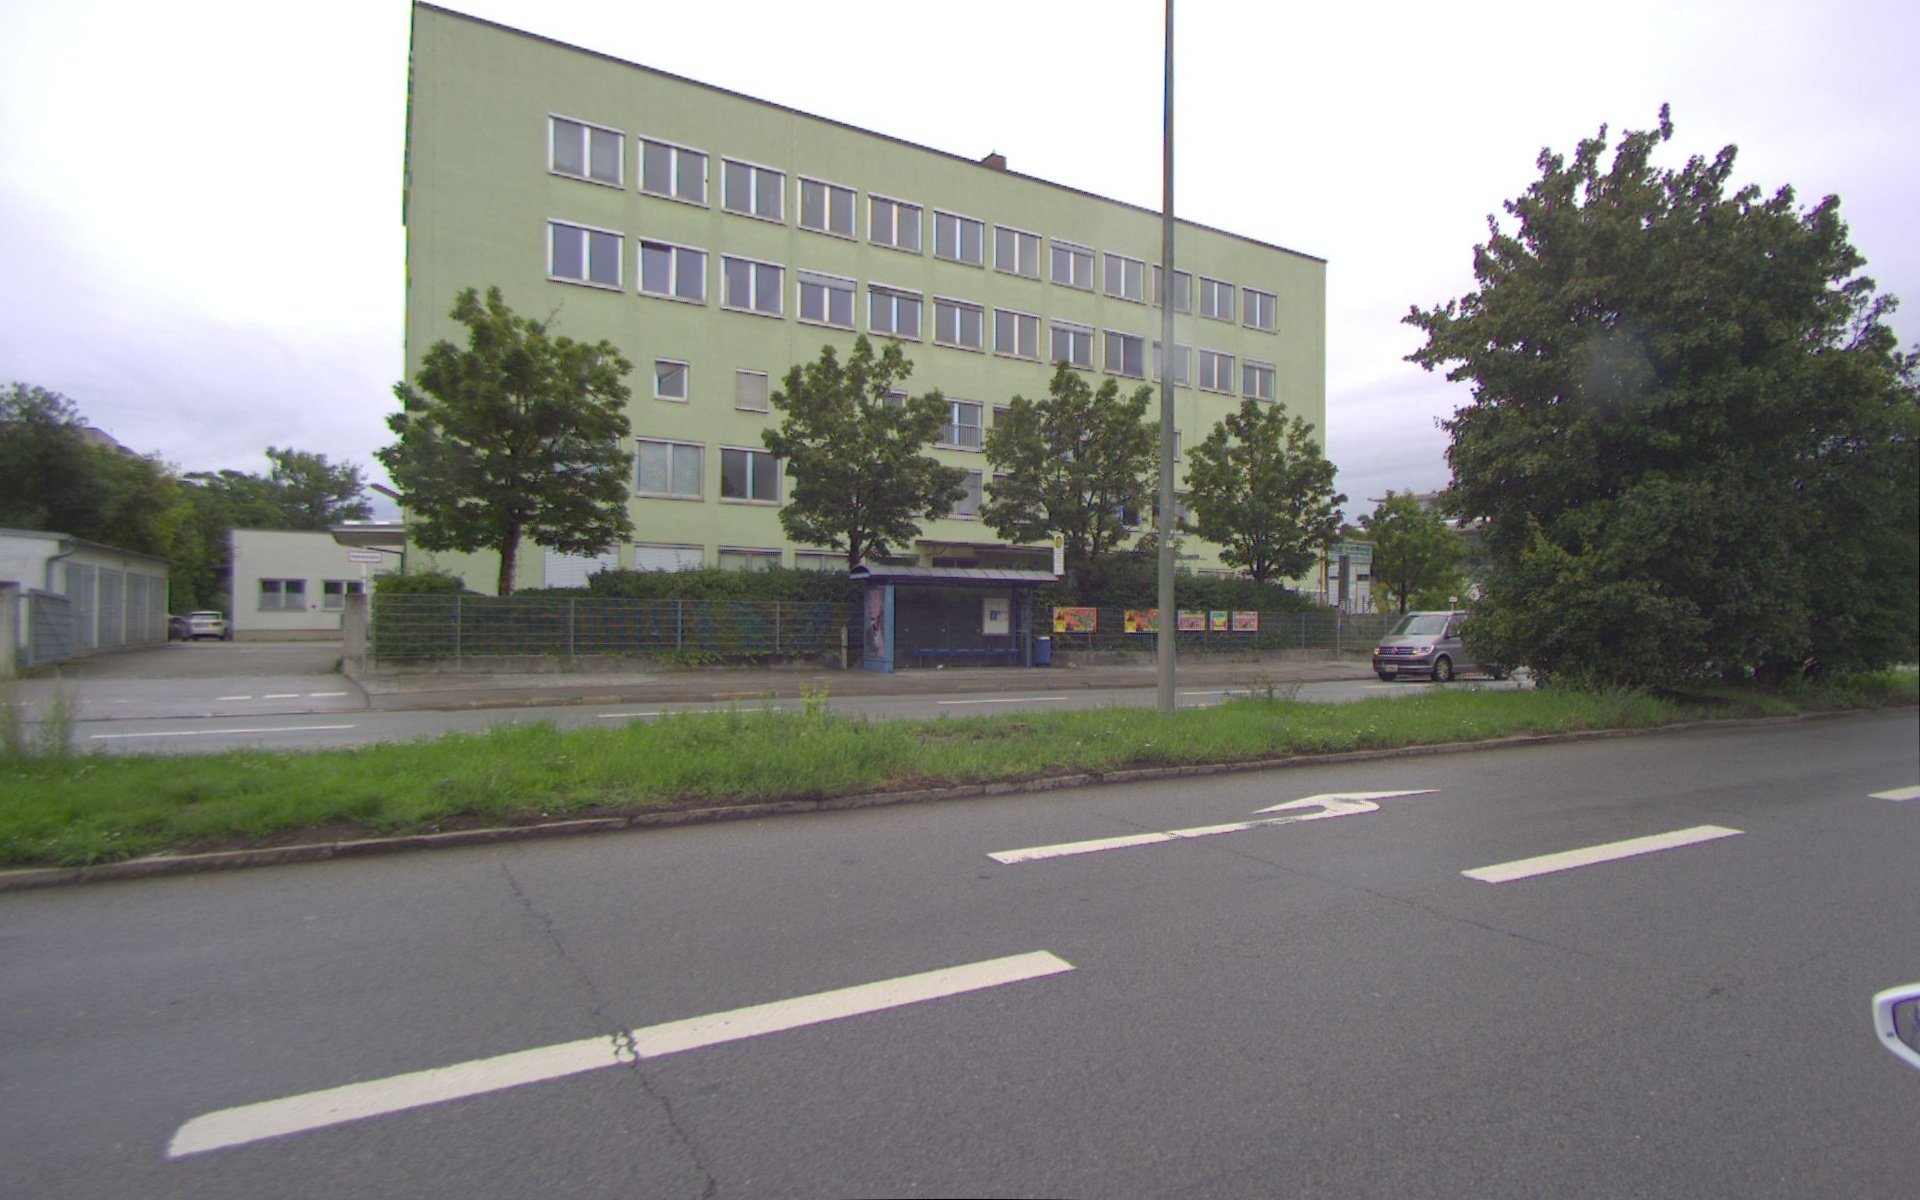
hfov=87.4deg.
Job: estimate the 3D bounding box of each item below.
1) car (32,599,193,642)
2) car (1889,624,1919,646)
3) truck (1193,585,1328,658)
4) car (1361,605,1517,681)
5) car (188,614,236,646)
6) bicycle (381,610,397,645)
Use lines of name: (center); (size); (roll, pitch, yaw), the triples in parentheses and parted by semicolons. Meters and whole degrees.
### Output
car: (-29.710, 0.753, 35.367); (4.048, 1.416, 1.756); (1, -2, -31)
car: (76.028, 2.767, 79.058); (1.835, 1.731, 4.105); (2, -3, -42)
truck: (12.088, 0.889, 40.366); (5.232, 2.784, 1.988); (1, -2, -25)
car: (13.576, 1.209, 28.440); (4.276, 1.986, 1.983); (1, -2, -32)
car: (-36.525, 1.486, 49.104); (1.547, 1.540, 3.675); (1, -3, -32)
bicycle: (-18.903, 0.928, 33.267); (0.444, 1.131, 2.103); (1, -2, -29)
